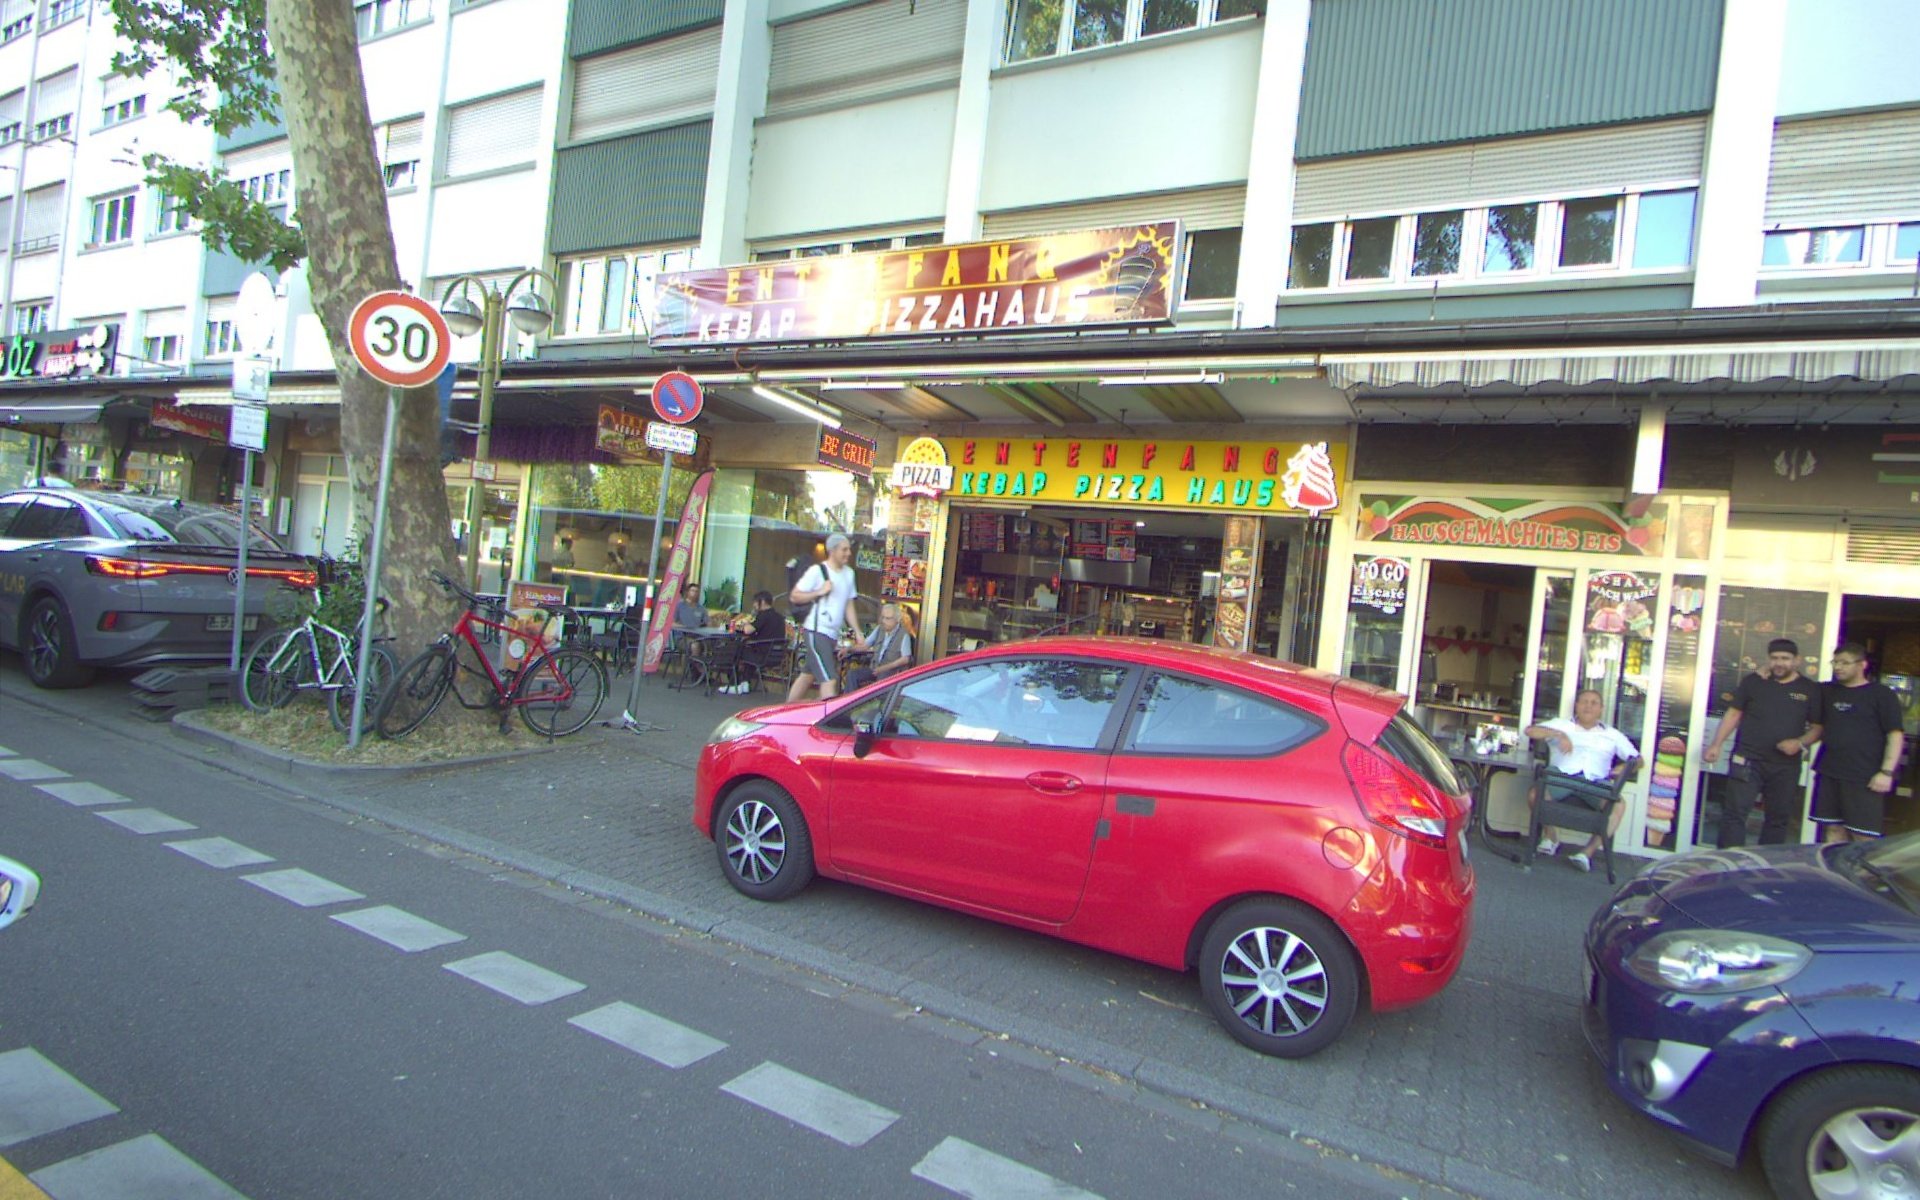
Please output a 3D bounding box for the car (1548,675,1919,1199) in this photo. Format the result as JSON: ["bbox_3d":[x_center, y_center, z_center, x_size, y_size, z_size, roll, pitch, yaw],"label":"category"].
[{"bbox_3d":[3.868,1.222,2.912,3.543,1.485,1.620,7,2,29],"label":"car"}]

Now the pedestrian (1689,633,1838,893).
[{"bbox_3d":[5.862,1.152,7.384,0.587,1.759,0.587,8,3,32],"label":"pedestrian"}]

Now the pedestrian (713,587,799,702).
[{"bbox_3d":[-2.393,0.509,11.806,0.701,1.260,0.614,7,3,41],"label":"pedestrian"}]

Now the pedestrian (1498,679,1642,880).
[{"bbox_3d":[4.634,1.295,7.630,0.767,1.249,1.202,6,3,33],"label":"pedestrian"}]

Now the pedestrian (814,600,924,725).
[{"bbox_3d":[-0.982,0.662,10.874,0.861,1.237,0.688,2,3,-44],"label":"pedestrian"}]

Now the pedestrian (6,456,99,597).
[{"bbox_3d":[-13.870,-1.105,15.379,0.701,2.040,0.770,6,2,28],"label":"pedestrian"}]

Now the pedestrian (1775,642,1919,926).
[{"bbox_3d":[6.205,1.216,6.939,0.636,1.783,0.610,8,3,33],"label":"pedestrian"}]

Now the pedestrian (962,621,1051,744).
[{"bbox_3d":[0.489,0.825,10.389,0.585,1.172,0.671,6,3,31],"label":"pedestrian"}]

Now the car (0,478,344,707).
[{"bbox_3d":[-7.818,-0.201,9.188,4.223,1.619,1.742,7,2,27],"label":"car"}]

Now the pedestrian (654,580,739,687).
[{"bbox_3d":[-3.239,0.407,12.369,0.694,1.220,0.675,7,3,42],"label":"pedestrian"}]

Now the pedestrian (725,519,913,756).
[{"bbox_3d":[-1.257,0.326,9.052,1.104,1.913,1.023,6,0,31],"label":"pedestrian"}]

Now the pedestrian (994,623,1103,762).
[{"bbox_3d":[0.829,0.838,9.419,0.740,1.172,0.593,6,3,33],"label":"pedestrian"}]

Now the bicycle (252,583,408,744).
[{"bbox_3d":[-4.447,0.424,7.087,1.110,0.941,0.295,9,6,21],"label":"bicycle"}]

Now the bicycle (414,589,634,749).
[{"bbox_3d":[-3.236,0.504,7.566,0.291,1.082,1.455,12,7,42],"label":"bicycle"}]

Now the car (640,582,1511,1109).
[{"bbox_3d":[0.474,0.845,5.002,3.780,1.448,1.668,7,2,27],"label":"car"}]
